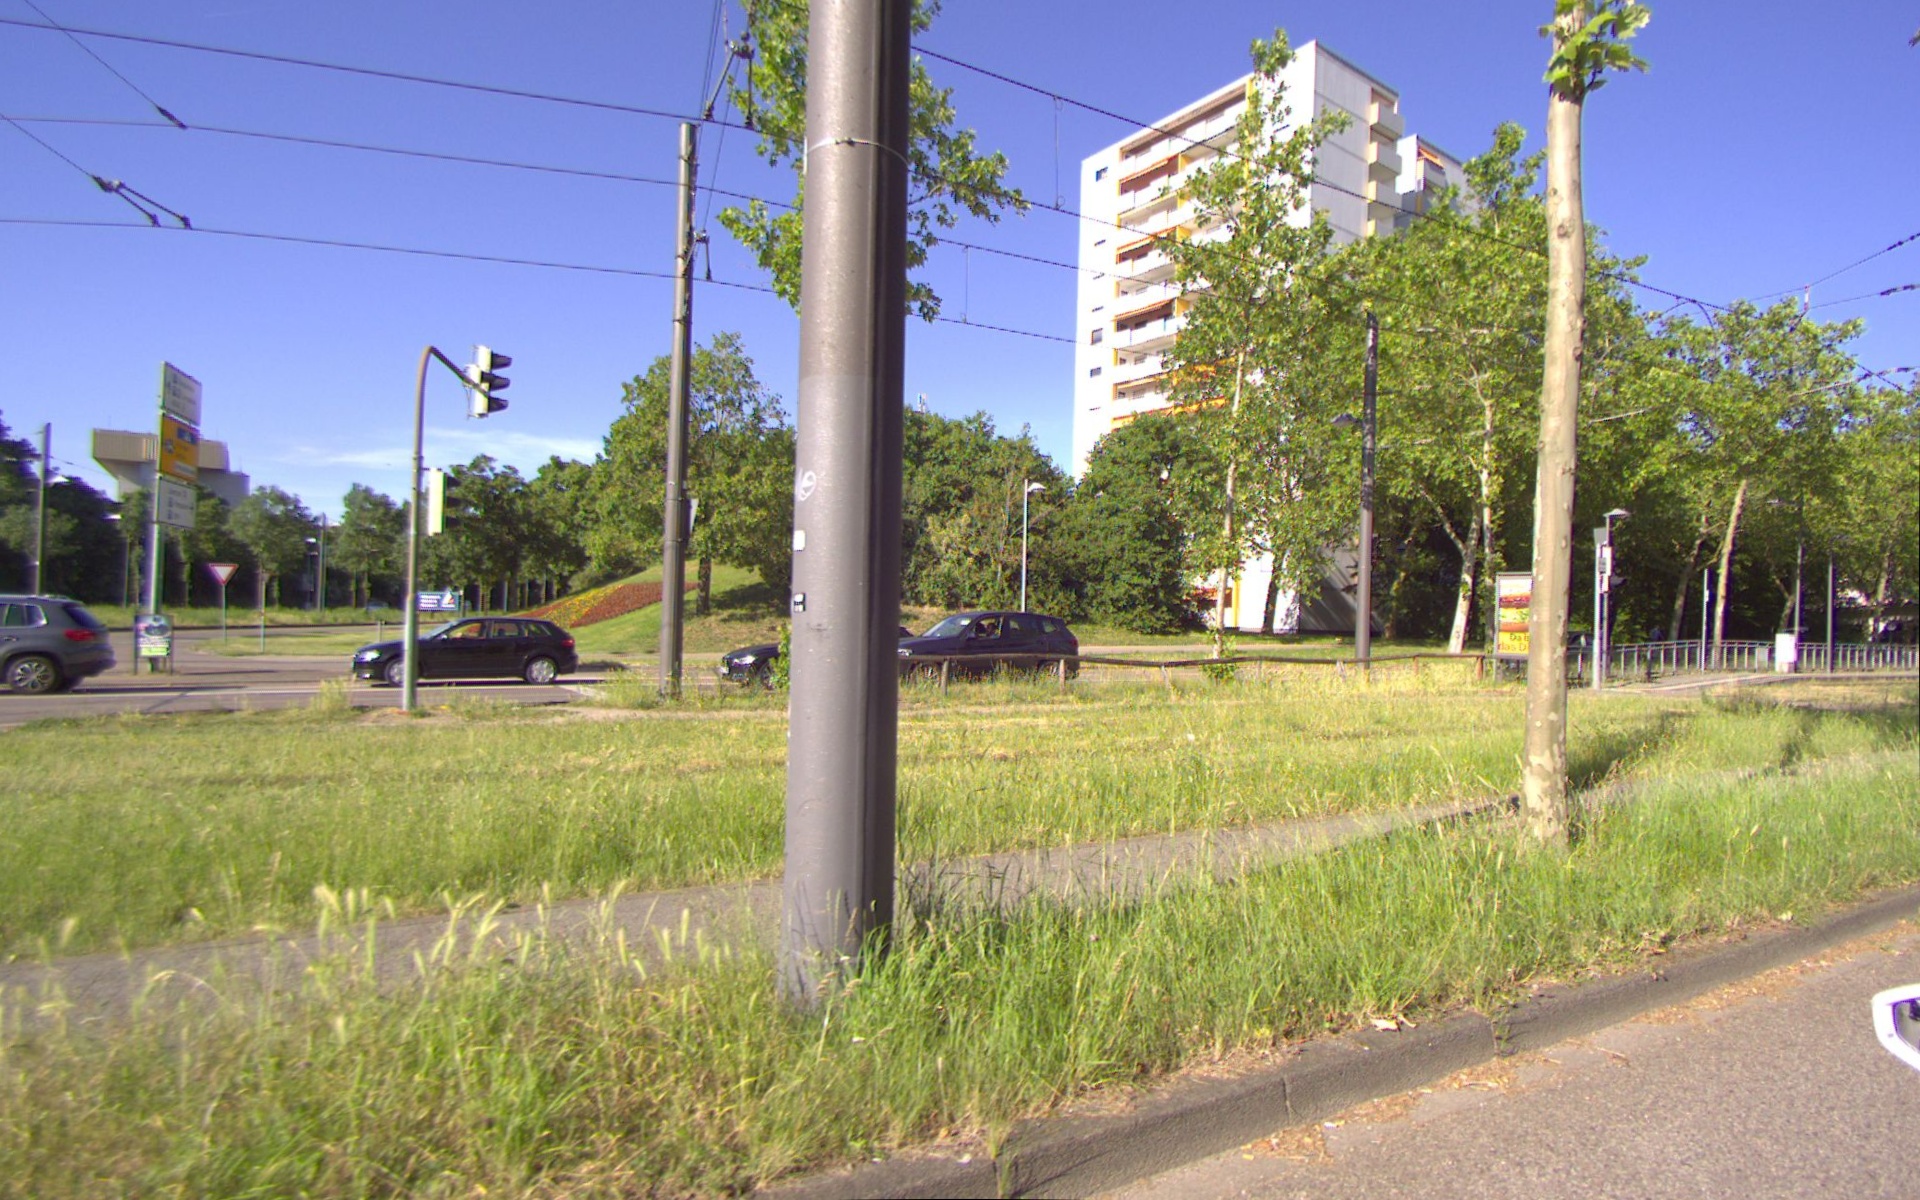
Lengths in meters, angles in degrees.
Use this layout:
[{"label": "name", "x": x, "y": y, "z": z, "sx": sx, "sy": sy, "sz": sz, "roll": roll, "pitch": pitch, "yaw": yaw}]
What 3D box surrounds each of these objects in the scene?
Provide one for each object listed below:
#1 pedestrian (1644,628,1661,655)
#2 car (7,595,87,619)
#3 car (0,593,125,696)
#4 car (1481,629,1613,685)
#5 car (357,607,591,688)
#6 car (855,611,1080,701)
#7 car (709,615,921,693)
[{"label": "pedestrian", "x": 44.521, "y": 2.653, "z": 64.541, "sx": 0.642, "sy": 1.683, "sz": 0.645, "roll": 2, "pitch": 0, "yaw": -29}, {"label": "car", "x": -60.179, "y": 0.485, "z": 66.316, "sx": 1.765, "sy": 1.530, "sz": 3.998, "roll": 1, "pitch": -1, "yaw": -4}, {"label": "car", "x": -16.976, "y": 0.713, "z": 16.886, "sx": 4.217, "sy": 1.700, "sz": 1.786, "roll": 2, "pitch": -1, "yaw": -30}, {"label": "car", "x": 18.660, "y": 1.807, "z": 31.892, "sx": 4.217, "sy": 1.629, "sz": 1.786, "roll": 2, "pitch": -1, "yaw": -30}, {"label": "car", "x": -10.111, "y": 0.982, "z": 20.997, "sx": 4.221, "sy": 1.530, "sz": 1.784, "roll": 2, "pitch": -1, "yaw": -33}, {"label": "car", "x": 0.179, "y": 1.101, "z": 20.105, "sx": 4.184, "sy": 1.638, "sz": 1.786, "roll": 2, "pitch": -1, "yaw": -30}, {"label": "car", "x": -3.134, "y": 1.159, "z": 21.927, "sx": 4.217, "sy": 1.530, "sz": 1.786, "roll": 2, "pitch": -1, "yaw": -30}]
